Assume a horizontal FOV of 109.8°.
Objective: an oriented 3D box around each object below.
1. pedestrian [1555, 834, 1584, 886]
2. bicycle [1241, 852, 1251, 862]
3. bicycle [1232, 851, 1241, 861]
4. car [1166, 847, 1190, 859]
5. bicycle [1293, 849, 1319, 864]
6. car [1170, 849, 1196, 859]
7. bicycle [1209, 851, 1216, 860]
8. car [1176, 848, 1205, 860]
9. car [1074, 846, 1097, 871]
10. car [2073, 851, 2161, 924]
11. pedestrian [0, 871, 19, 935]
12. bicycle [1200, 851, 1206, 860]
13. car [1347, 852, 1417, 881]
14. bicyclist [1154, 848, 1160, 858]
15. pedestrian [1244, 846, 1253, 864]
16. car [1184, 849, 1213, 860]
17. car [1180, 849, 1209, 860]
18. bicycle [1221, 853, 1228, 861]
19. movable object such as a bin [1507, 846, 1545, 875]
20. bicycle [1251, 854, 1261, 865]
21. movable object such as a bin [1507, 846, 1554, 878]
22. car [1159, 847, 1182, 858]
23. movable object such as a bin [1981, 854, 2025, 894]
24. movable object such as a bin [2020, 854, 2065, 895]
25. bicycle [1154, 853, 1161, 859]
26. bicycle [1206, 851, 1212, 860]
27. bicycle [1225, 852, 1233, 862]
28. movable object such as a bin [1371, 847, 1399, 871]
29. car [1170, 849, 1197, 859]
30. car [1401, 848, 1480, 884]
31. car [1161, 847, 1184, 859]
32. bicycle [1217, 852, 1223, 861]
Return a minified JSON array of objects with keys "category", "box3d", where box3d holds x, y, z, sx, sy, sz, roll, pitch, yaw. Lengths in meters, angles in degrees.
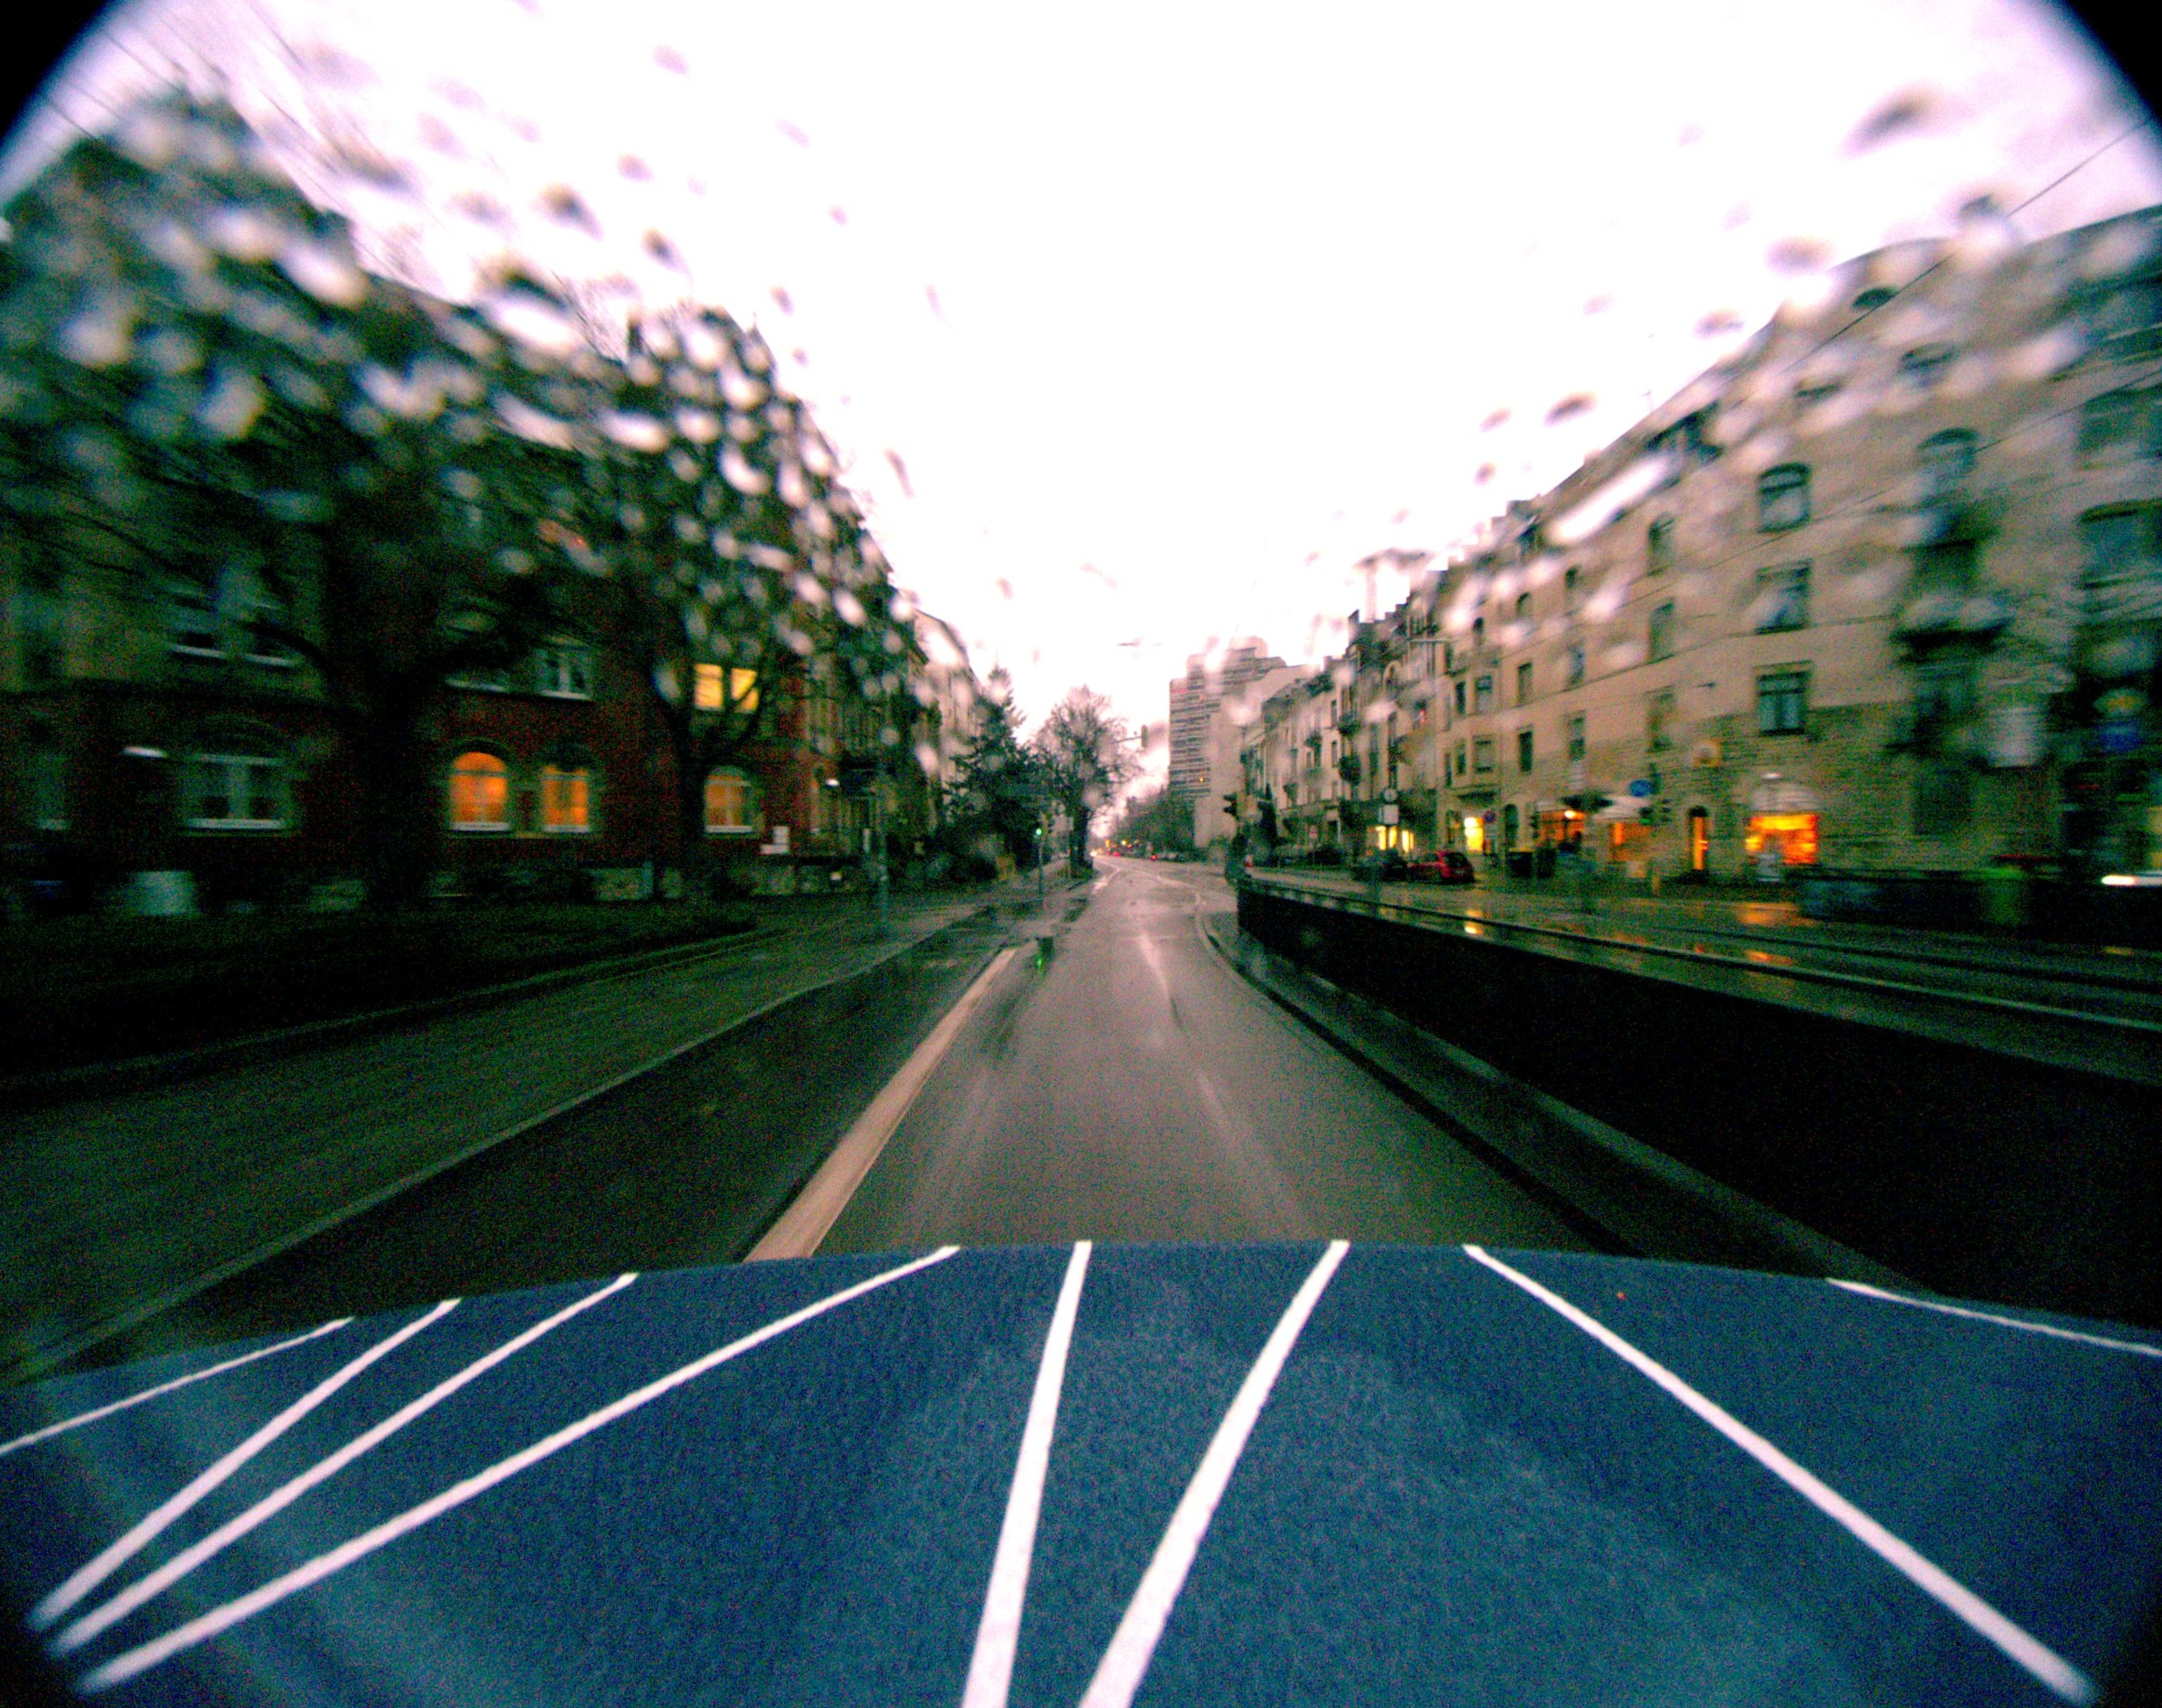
[{"category":"pedestrian","box3d":[18.340,0.225,28.516,0.796,1.867,0.896,-3,1,36]},{"category":"bicycle","box3d":[16.140,0.261,74.374,0.530,0.884,2.209,-3,1,4]},{"category":"bicycle","box3d":[16.327,0.191,79.736,0.485,1.001,2.209,-4,1,2]},{"category":"car","box3d":[16.387,-0.148,128.186,3.840,1.707,1.727,-3,0,1]},{"category":"bicycle","box3d":[18.840,0.213,63.558,1.989,1.152,0.531,-4,1,-1]},{"category":"car","box3d":[16.374,-0.016,121.783,3.840,1.405,1.727,-4,1,1]},{"category":"bicycle","box3d":[16.001,0.206,92.448,0.435,1.001,1.881,-4,1,2]},{"category":"car","box3d":[16.035,-0.007,111.473,3.840,1.405,1.727,-4,1,1]},{"category":"car","box3d":[0.377,0.359,64.624,1.726,1.934,4.507,-4,1,-1]},{"category":"car","box3d":[24.465,0.679,16.160,3.816,1.464,1.617,-3,1,42]},{"category":"pedestrian","box3d":[-22.521,1.016,15.648,0.545,1.309,0.609,-2,0,22]},{"category":"bicycle","box3d":[15.953,0.191,99.401,0.469,1.001,1.881,-4,1,1]},{"category":"car","box3d":[16.353,0.651,41.540,1.807,1.382,4.507,-4,1,-3]},{"category":"bicyclist","box3d":[11.716,-0.166,116.894,0.657,1.492,0.658,1,1,-8]},{"category":"pedestrian","box3d":[15.365,0.082,69.698,0.573,1.633,0.449,-4,1,1]},{"category":"car","box3d":[16.412,0.095,105.992,3.840,1.405,1.727,-1,1,1]},{"category":"car","box3d":[16.227,0.067,108.665,3.840,1.405,1.727,0,0,1]},{"category":"bicycle","box3d":[16.032,0.305,84.960,0.442,0.827,1.767,-4,1,1]},{"category":"movable object such as a bin","box3d":[21.718,0.304,37.104,1.004,1.364,1.274,-4,1,-1]},{"category":"bicycle","box3d":[16.049,0.467,69.574,0.530,0.934,2.086,-3,1,4]},{"category":"movable object such as a bin","box3d":[21.121,0.358,35.739,1.352,1.364,1.281,-4,1,-1]},{"category":"car","box3d":[15.935,-0.239,134.962,3.840,1.707,1.727,-4,1,1]},{"category":"movable object such as a bin","box3d":[26.824,0.573,22.112,0.647,1.129,0.693,0,1,37]},{"category":"movable object such as a bin","box3d":[27.373,0.568,21.643,0.647,1.129,0.655,0,1,37]},{"category":"bicycle","box3d":[11.717,0.252,116.883,0.649,0.884,1.712,1,1,-8]},{"category":"bicycle","box3d":[15.947,0.169,94.457,0.435,1.001,1.881,-4,1,2]},{"category":"bicycle","box3d":[16.198,0.312,83.145,0.435,1.001,1.712,-4,1,1]},{"category":"movable object such as a bin","box3d":[19.164,0.306,47.870,1.239,1.423,1.074,-4,1,-1]},{"category":"car","box3d":[15.772,0.031,117.295,3.840,1.405,1.727,-3,0,1]},{"category":"car","box3d":[16.965,0.540,36.029,1.677,1.507,3.677,-4,1,-6]},{"category":"car","box3d":[15.756,-0.173,131.008,3.840,1.707,1.727,-4,1,1]},{"category":"bicycle","box3d":[15.921,0.276,87.128,0.435,1.001,1.605,-4,1,1]}]
